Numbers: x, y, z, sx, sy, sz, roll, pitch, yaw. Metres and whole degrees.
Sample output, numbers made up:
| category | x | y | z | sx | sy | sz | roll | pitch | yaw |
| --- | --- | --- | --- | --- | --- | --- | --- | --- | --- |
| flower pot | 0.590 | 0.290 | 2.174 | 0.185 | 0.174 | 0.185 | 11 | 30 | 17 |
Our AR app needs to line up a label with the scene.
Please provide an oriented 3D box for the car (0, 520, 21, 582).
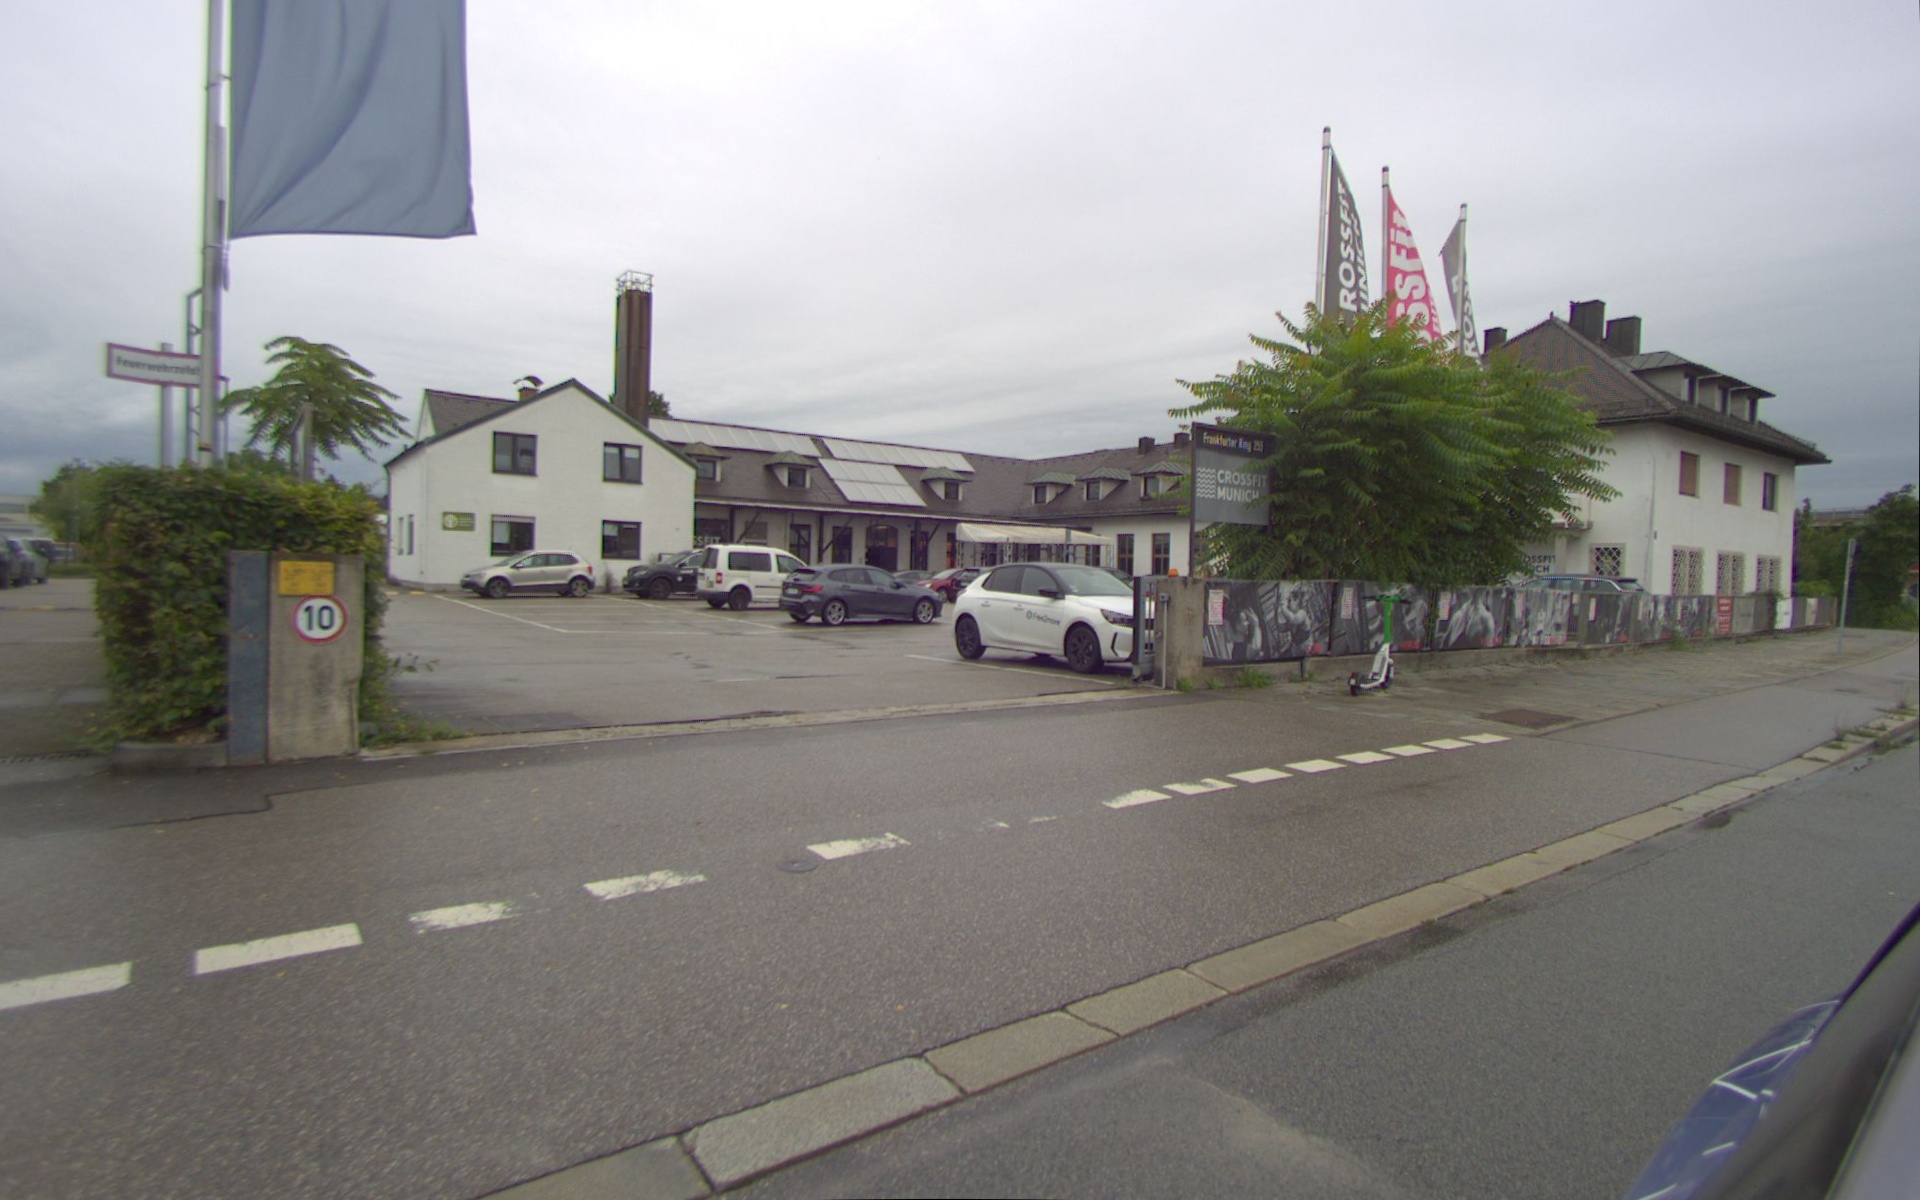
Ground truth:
| category | x | y | z | sx | sy | sz | roll | pitch | yaw |
| --- | --- | --- | --- | --- | --- | --- | --- | --- | --- |
| car | -26.671 | -1.383 | 27.025 | 1.850 | 1.625 | 4.278 | 2 | 2 | -37 |

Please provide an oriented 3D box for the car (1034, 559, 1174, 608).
| category | x | y | z | sx | sy | sz | roll | pitch | yaw |
| --- | --- | --- | --- | --- | --- | --- | --- | --- | --- |
| car | 4.815 | -0.553 | 33.689 | 4.451 | 1.530 | 1.928 | 0 | 2 | -34 |

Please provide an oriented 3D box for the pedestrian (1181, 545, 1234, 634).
| category | x | y | z | sx | sy | sz | roll | pitch | yaw |
| --- | --- | --- | --- | --- | --- | --- | --- | --- | --- |
| pedestrian | 5.510 | -0.232 | 22.517 | 0.916 | 1.925 | 0.734 | 0 | 1 | -41 |

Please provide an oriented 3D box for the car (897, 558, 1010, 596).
| category | x | y | z | sx | sy | sz | roll | pitch | yaw |
| --- | --- | --- | --- | --- | --- | --- | --- | --- | --- |
| car | -0.232 | -0.921 | 41.213 | 4.322 | 1.487 | 1.927 | 0 | 2 | -37 |

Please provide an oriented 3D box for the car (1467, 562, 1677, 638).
| category | x | y | z | sx | sy | sz | roll | pitch | yaw |
| --- | --- | --- | --- | --- | --- | --- | --- | --- | --- |
| car | 15.347 | -0.052 | 25.561 | 1.892 | 1.747 | 4.108 | 0 | 2 | -38 |

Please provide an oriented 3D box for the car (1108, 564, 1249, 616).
| category | x | y | z | sx | sy | sz | roll | pitch | yaw |
| --- | --- | --- | --- | --- | --- | --- | --- | --- | --- |
| car | 6.827 | -0.308 | 31.515 | 4.027 | 1.512 | 1.929 | 0 | 1 | -30 |

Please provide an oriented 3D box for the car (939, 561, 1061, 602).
| category | x | y | z | sx | sy | sz | roll | pitch | yaw |
| --- | --- | --- | --- | --- | --- | --- | --- | --- | --- |
| car | 1.560 | -0.699 | 38.780 | 4.462 | 1.487 | 1.927 | 0 | 2 | -37 |

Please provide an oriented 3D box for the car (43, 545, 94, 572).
| category | x | y | z | sx | sy | sz | roll | pitch | yaw |
| --- | --- | --- | --- | --- | --- | --- | --- | --- | --- |
| car | -44.594 | -2.084 | 50.682 | 1.577 | 1.246 | 4.029 | 0 | 2 | -37 |

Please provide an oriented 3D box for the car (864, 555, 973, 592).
| category | x | y | z | sx | sy | sz | roll | pitch | yaw |
| --- | --- | --- | --- | --- | --- | --- | --- | --- | --- |
| car | -1.748 | -1.110 | 43.322 | 4.322 | 1.487 | 1.927 | 0 | 2 | -37 |

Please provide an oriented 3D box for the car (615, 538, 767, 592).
| category | x | y | z | sx | sy | sz | roll | pitch | yaw |
| --- | --- | --- | --- | --- | --- | --- | --- | --- | --- |
| car | -9.104 | -1.163 | 34.362 | 4.600 | 1.688 | 1.927 | 0 | 2 | -36 |

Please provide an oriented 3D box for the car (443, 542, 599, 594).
| category | x | y | z | sx | sy | sz | roll | pitch | yaw |
| --- | --- | --- | --- | --- | --- | --- | --- | --- | --- |
| car | -13.683 | -0.997 | 31.639 | 4.147 | 1.513 | 1.926 | 0 | 2 | -39 |

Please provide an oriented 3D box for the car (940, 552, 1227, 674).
| category | x | y | z | sx | sy | sz | roll | pitch | yaw |
| --- | --- | --- | --- | --- | --- | --- | --- | --- | --- |
| car | 1.591 | 0.081 | 14.374 | 1.759 | 1.478 | 4.027 | 0 | 2 | -36 |

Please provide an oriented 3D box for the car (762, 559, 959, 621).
| category | x | y | z | sx | sy | sz | roll | pitch | yaw |
| --- | --- | --- | --- | --- | --- | --- | --- | --- | --- |
| car | -2.409 | -0.253 | 25.125 | 4.532 | 1.404 | 1.927 | 0 | 2 | -36 |

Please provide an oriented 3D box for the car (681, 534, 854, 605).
| category | x | y | z | sx | sy | sz | roll | pitch | yaw |
| --- | --- | --- | --- | --- | --- | --- | --- | --- | --- |
| car | -5.628 | -0.873 | 29.807 | 4.600 | 1.926 | 1.927 | 0 | 2 | -36 |

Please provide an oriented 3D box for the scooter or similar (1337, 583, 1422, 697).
| category | x | y | z | sx | sy | sz | roll | pitch | yaw |
| --- | --- | --- | --- | --- | --- | --- | --- | --- | --- |
| scooter or similar | 5.017 | 0.435 | 12.064 | 0.396 | 1.237 | 1.616 | 5 | 5 | 40 |

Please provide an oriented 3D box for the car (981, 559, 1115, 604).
| category | x | y | z | sx | sy | sz | roll | pitch | yaw |
| --- | --- | --- | --- | --- | --- | --- | --- | --- | --- |
| car | 3.158 | -0.644 | 36.006 | 4.541 | 1.487 | 1.928 | 0 | 2 | -34 |

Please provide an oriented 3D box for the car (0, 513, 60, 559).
| category | x | y | z | sx | sy | sz | roll | pitch | yaw |
| --- | --- | --- | --- | --- | --- | --- | --- | --- | --- |
| car | -31.265 | -2.145 | 33.674 | 1.576 | 1.381 | 4.278 | 2 | 2 | -37 |
